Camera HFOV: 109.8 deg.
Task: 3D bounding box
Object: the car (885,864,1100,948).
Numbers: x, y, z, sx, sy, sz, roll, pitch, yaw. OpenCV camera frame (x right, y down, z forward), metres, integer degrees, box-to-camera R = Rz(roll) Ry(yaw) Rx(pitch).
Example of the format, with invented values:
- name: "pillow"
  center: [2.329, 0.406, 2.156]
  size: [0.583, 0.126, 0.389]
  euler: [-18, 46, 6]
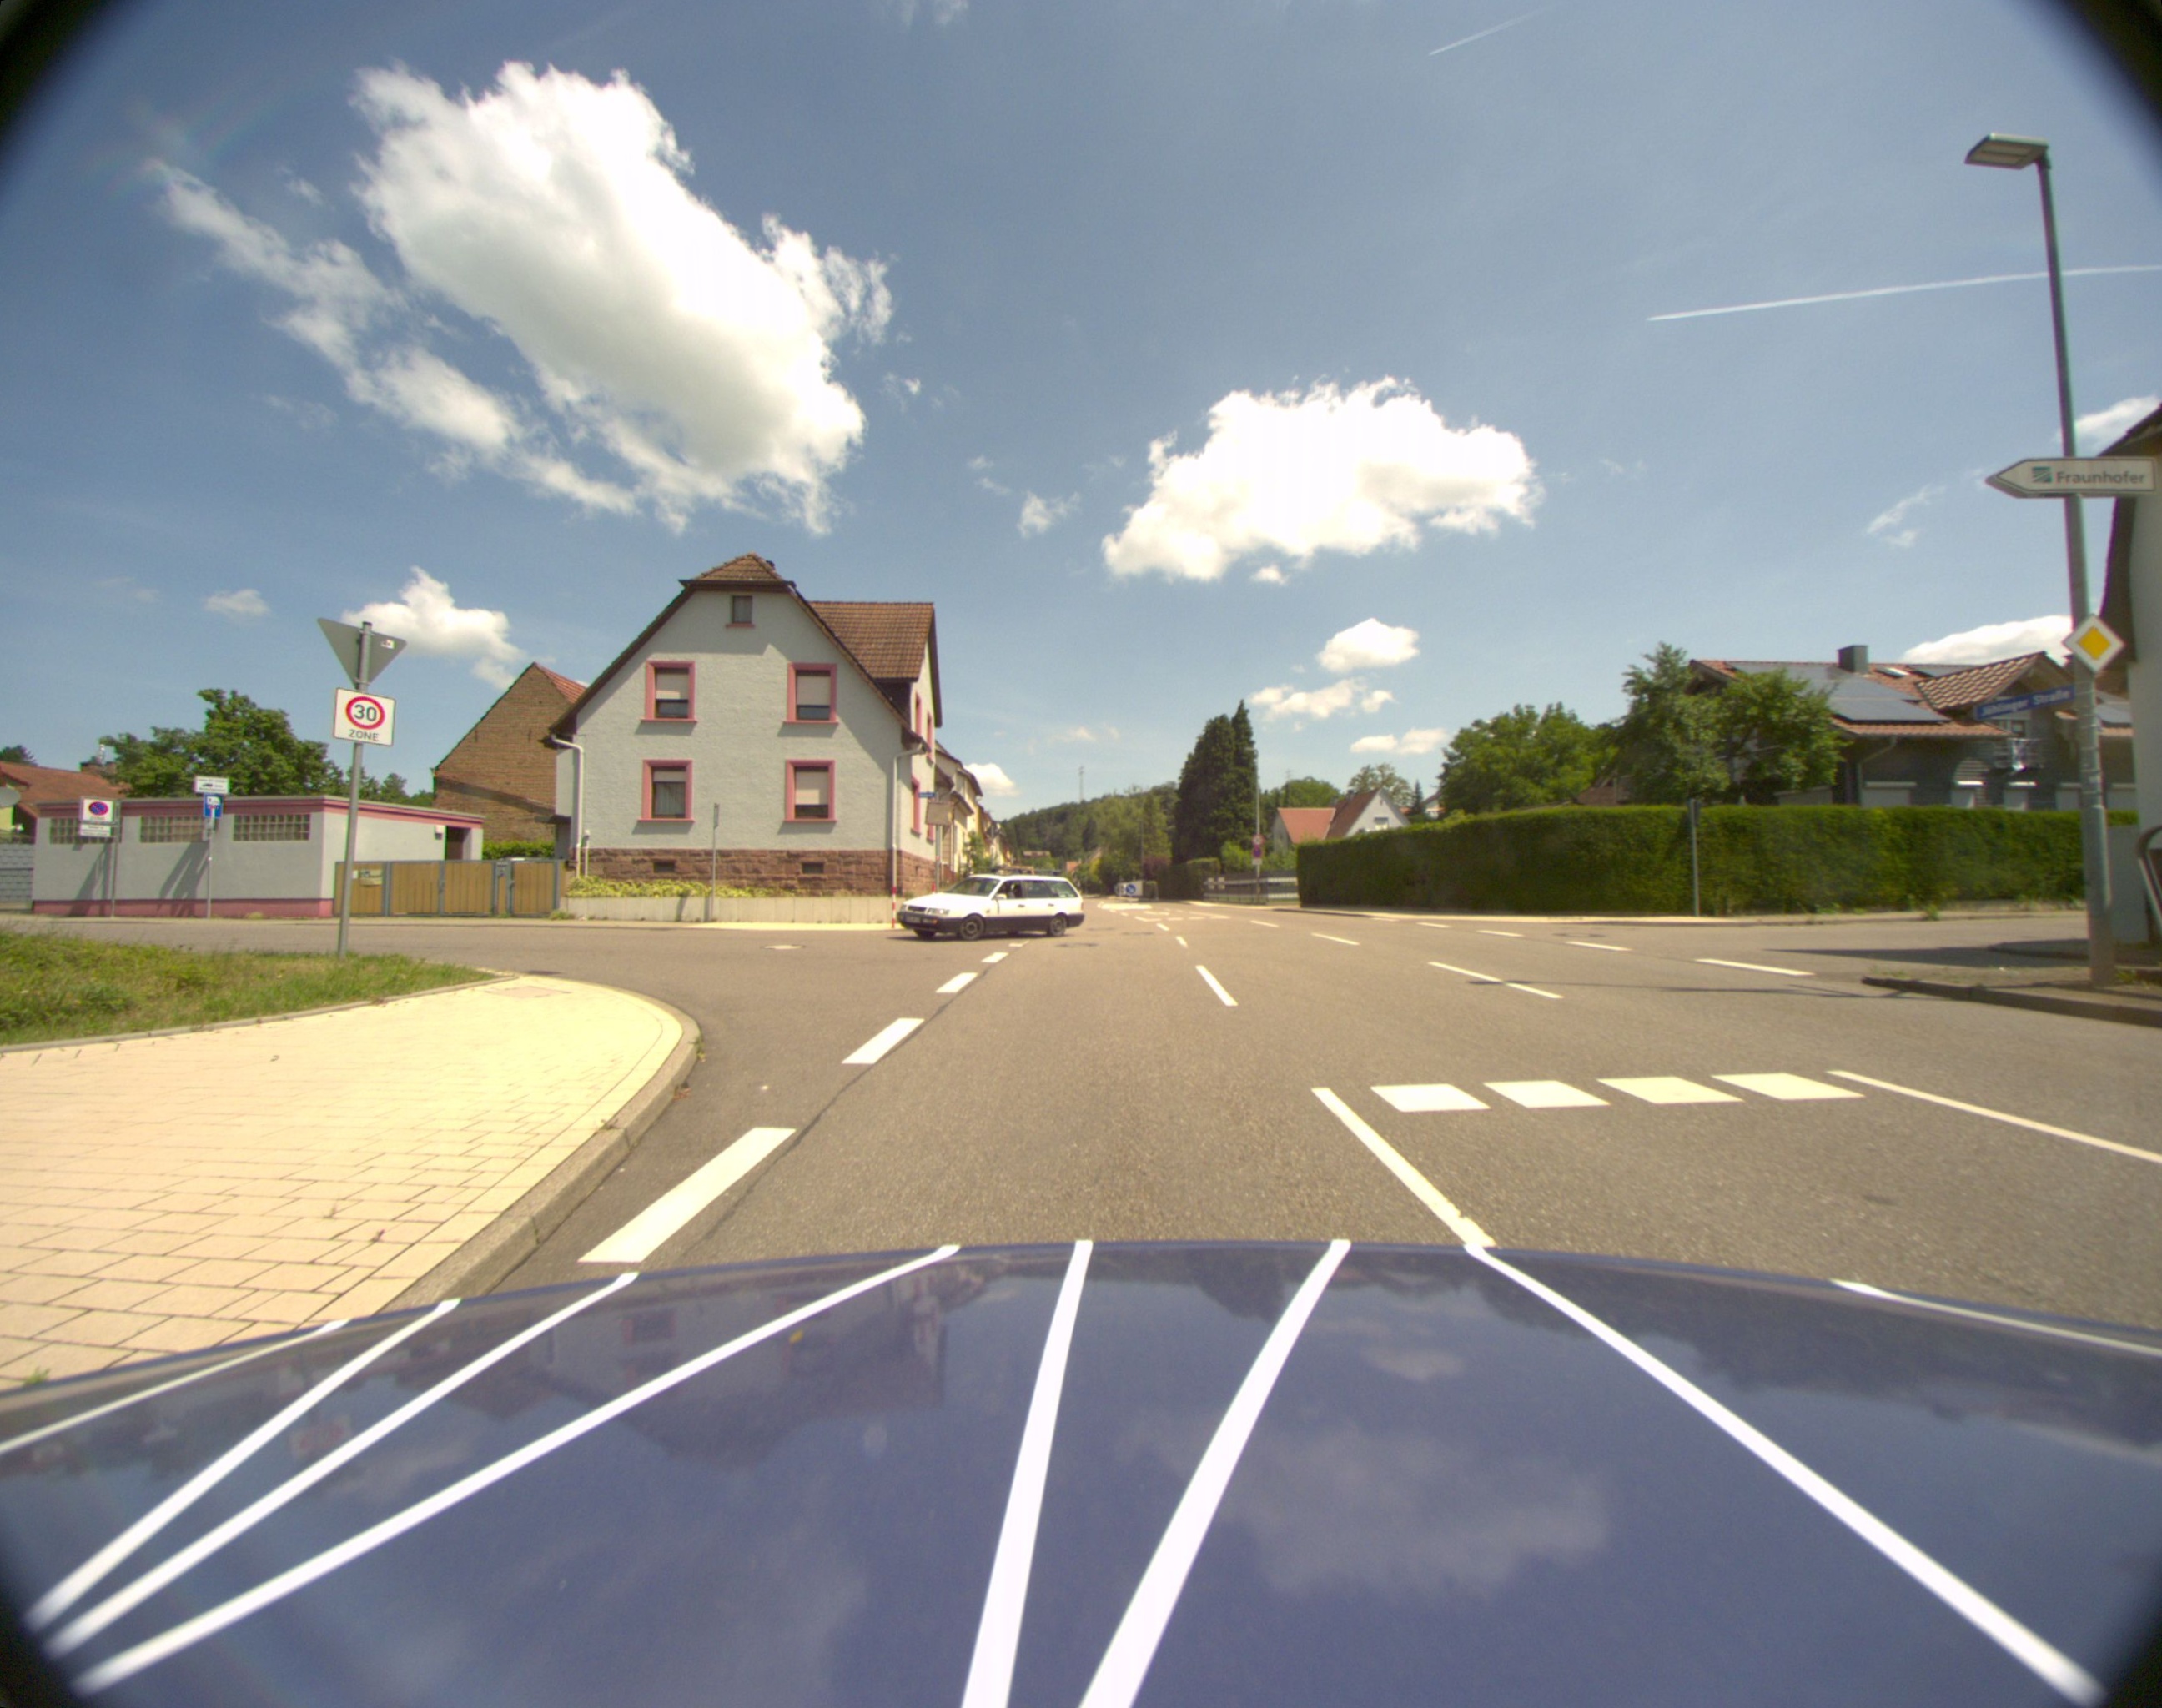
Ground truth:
- name: "car"
  center: [-1.820, 1.106, 17.104]
  size: [1.678, 1.633, 4.843]
  euler: [-5, -4, 41]
